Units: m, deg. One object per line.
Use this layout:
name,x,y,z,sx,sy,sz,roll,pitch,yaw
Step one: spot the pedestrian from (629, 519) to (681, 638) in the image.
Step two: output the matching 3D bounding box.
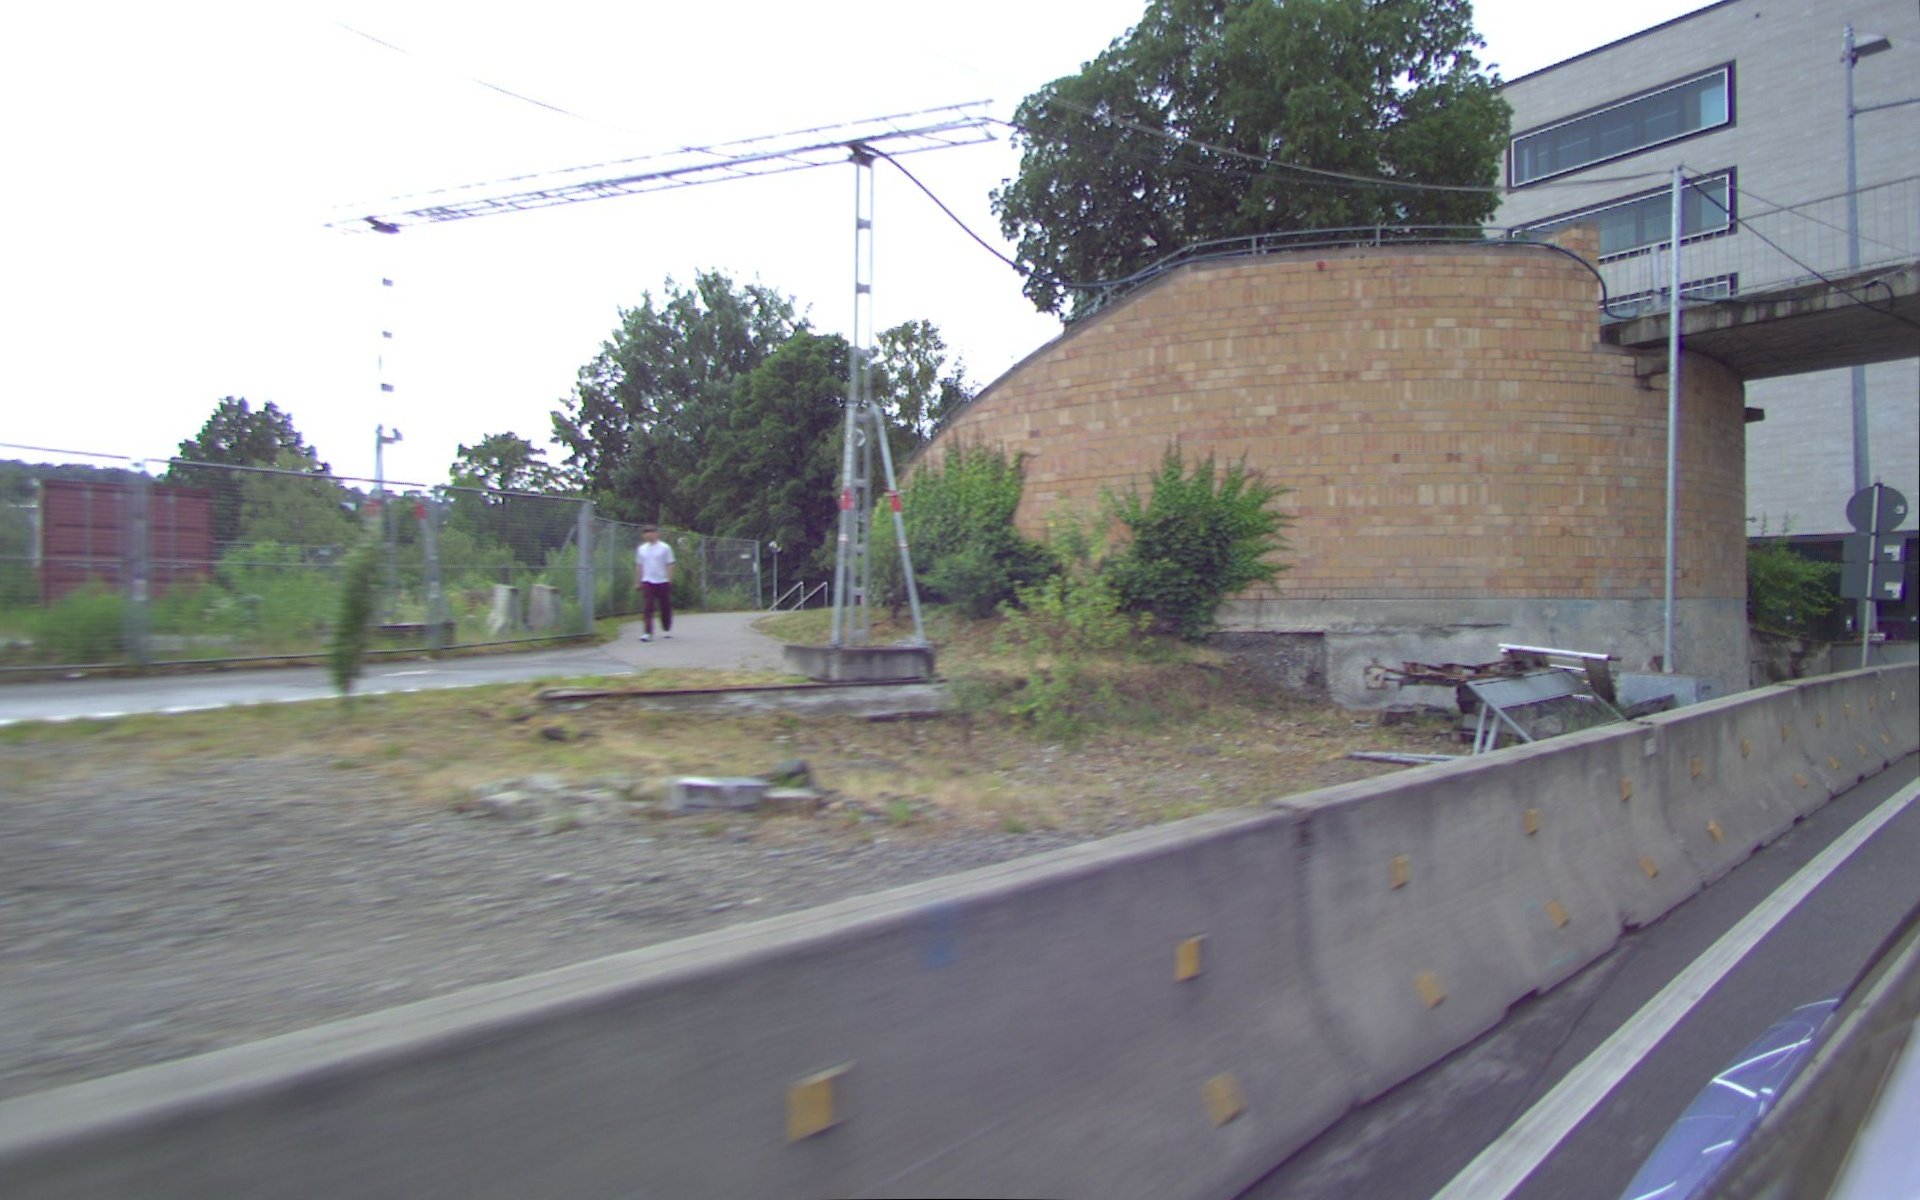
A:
pedestrian,-4.801,-0.334,15.915,0.677,1.800,0.817,0,0,-25
